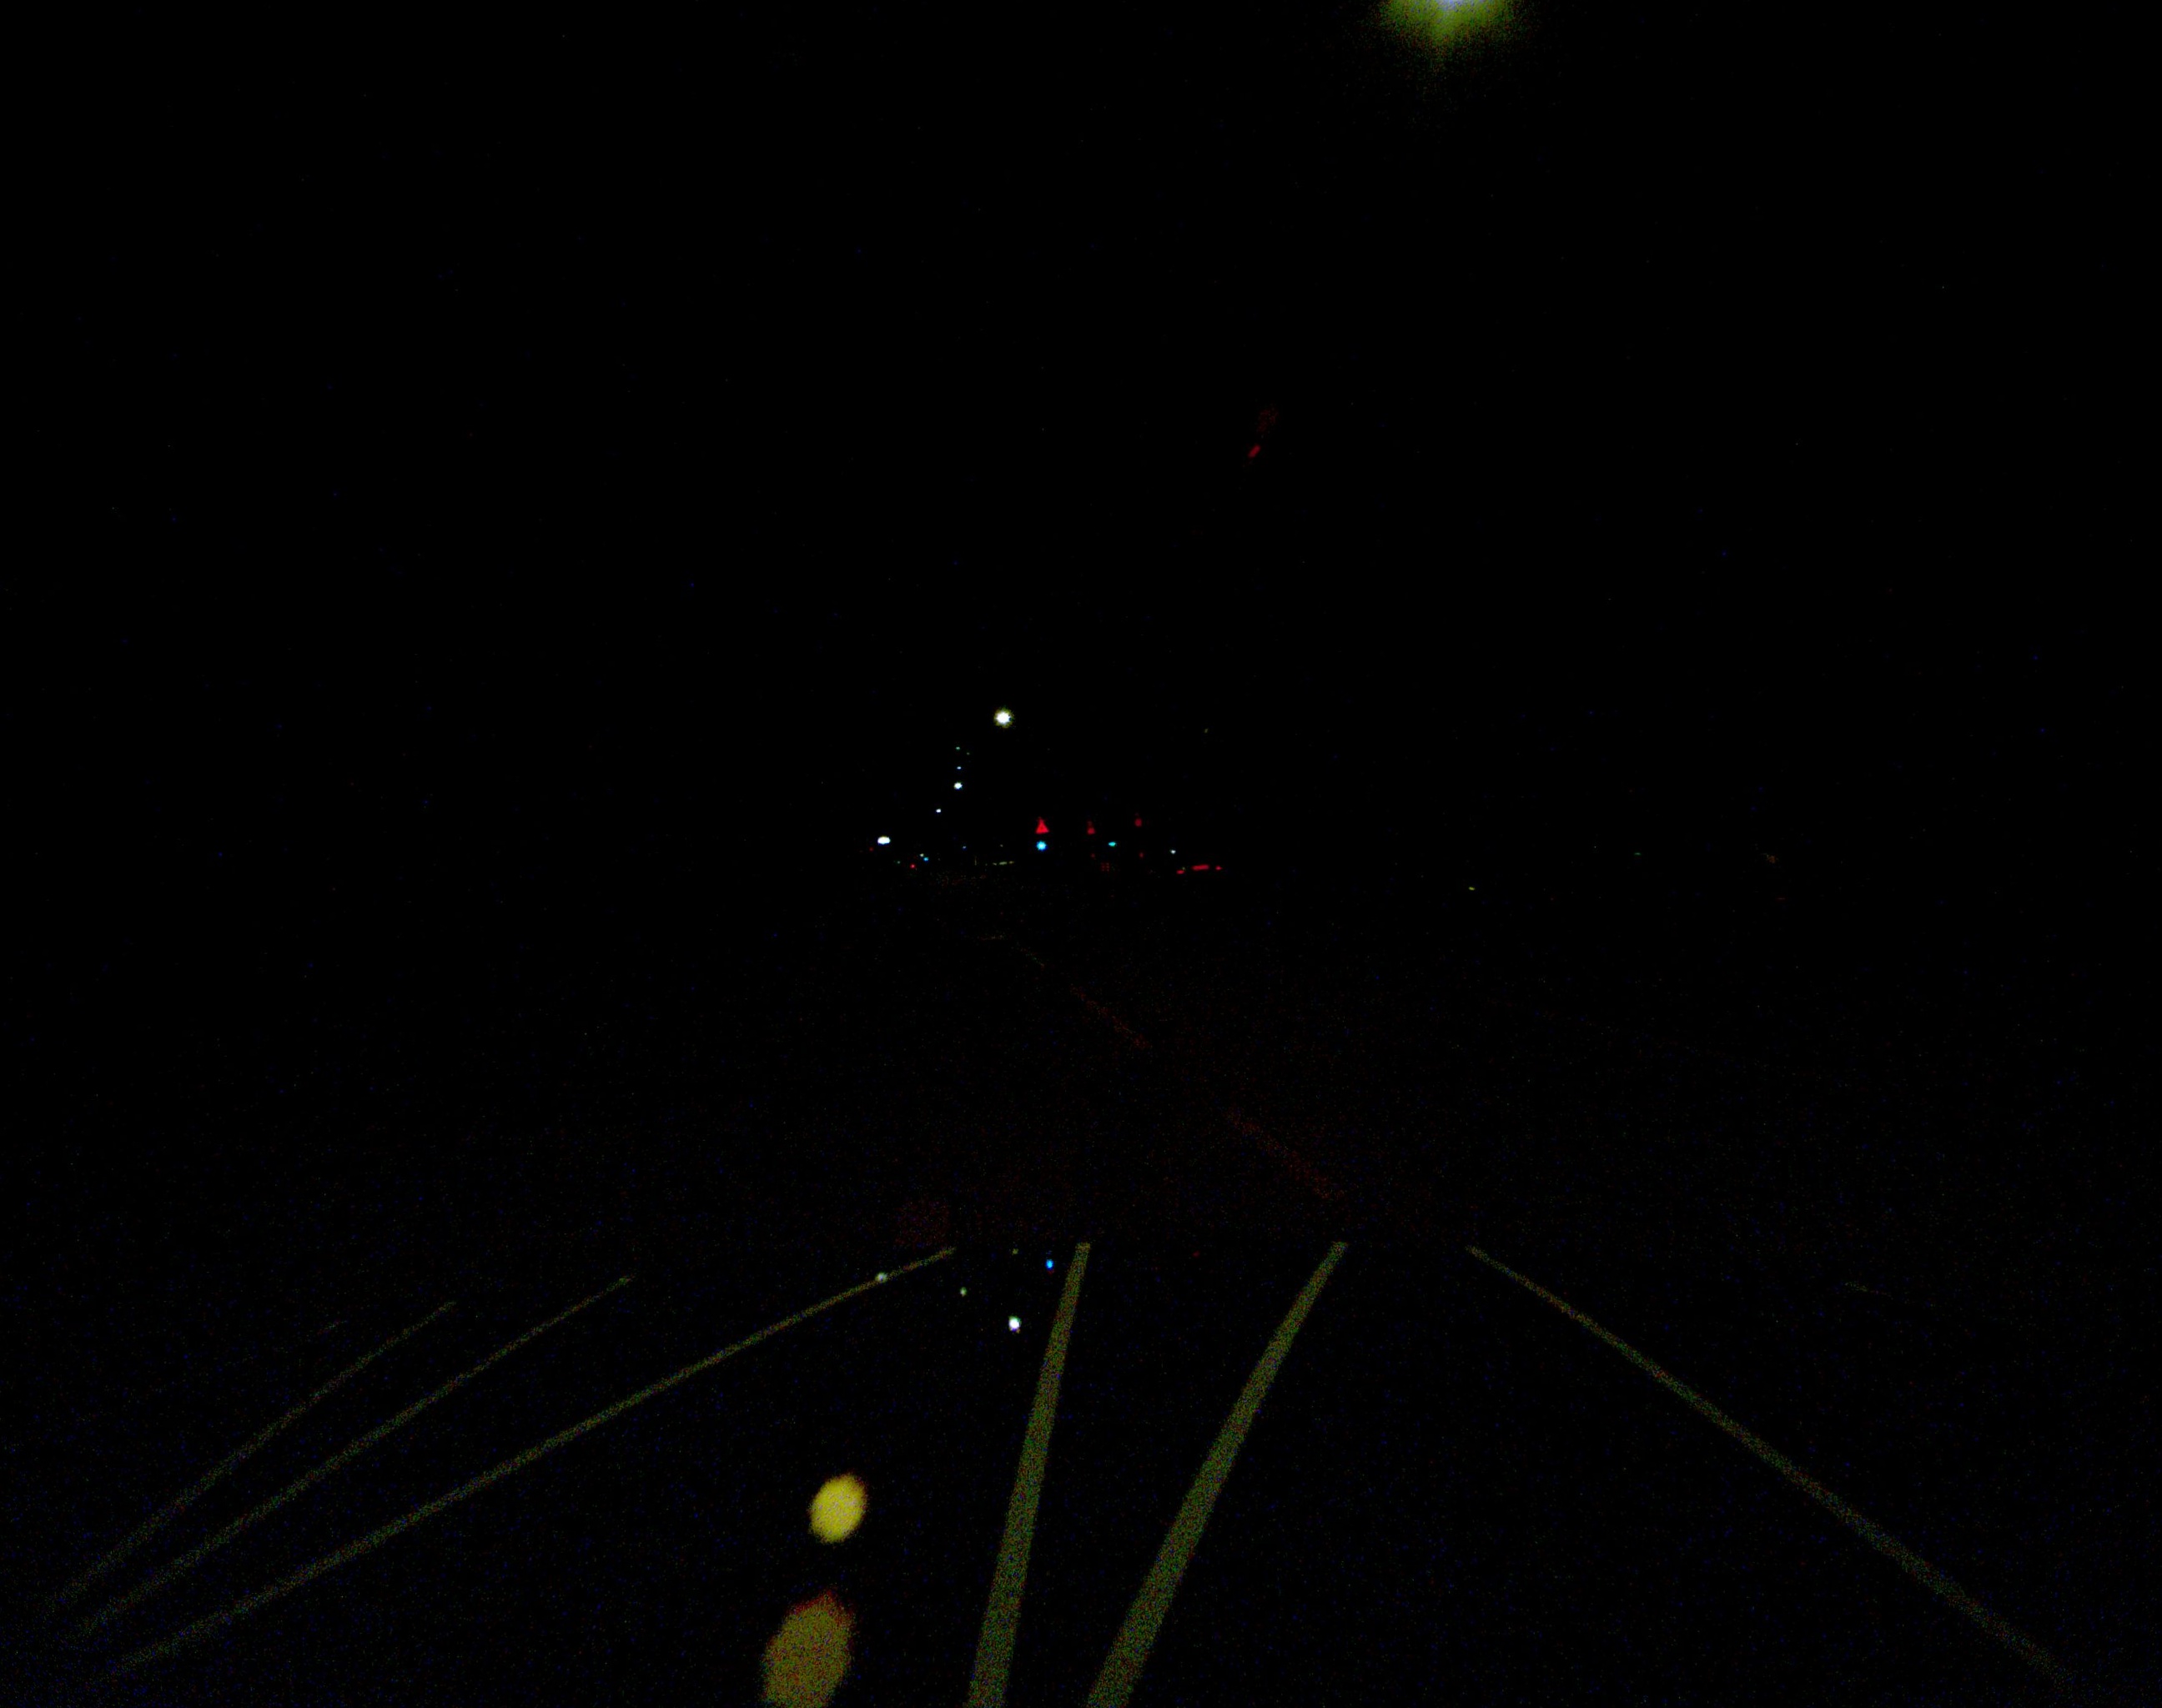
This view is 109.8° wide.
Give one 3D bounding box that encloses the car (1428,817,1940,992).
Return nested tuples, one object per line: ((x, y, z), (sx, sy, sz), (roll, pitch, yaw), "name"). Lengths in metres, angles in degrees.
((6.647, 0.444, 9.254), (1.774, 1.477, 4.762), (-3, 1, -14), "car")

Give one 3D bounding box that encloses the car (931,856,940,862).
((-39.001, 1.442, 203.767), (1.828, 1.424, 3.726), (-6, 1, -14), "car")

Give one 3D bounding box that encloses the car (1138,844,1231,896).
((3.331, 0.499, 25.272), (1.720, 1.485, 3.985), (-4, 1, -12), "car")

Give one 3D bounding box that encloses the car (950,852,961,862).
((-23.864, 0.542, 144.383), (1.884, 1.798, 3.727), (-6, 1, -11), "car")

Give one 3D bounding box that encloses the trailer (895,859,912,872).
((-21.989, 1.431, 94.146), (1.606, 1.486, 3.730), (-5, 1, -9), "trailer")

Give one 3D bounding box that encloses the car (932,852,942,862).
((-40.860, 0.940, 215.420), (2.007, 2.493, 4.948), (-6, 1, -14), "car")

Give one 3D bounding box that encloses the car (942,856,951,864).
((-30.351, 1.284, 171.660), (1.828, 1.637, 3.727), (-3, 0, -11), "car")

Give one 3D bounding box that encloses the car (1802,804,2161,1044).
((7.706, 0.403, 4.451), (1.774, 1.477, 4.858), (-3, 1, -13), "car")

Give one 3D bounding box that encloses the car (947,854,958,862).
((-25.353, 0.783, 150.201), (1.827, 1.424, 3.727), (-6, 1, -11), "car")

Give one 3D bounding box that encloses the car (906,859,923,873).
((-18.704, 1.360, 85.493), (1.592, 1.452, 3.793), (-4, 1, -10), "car")
